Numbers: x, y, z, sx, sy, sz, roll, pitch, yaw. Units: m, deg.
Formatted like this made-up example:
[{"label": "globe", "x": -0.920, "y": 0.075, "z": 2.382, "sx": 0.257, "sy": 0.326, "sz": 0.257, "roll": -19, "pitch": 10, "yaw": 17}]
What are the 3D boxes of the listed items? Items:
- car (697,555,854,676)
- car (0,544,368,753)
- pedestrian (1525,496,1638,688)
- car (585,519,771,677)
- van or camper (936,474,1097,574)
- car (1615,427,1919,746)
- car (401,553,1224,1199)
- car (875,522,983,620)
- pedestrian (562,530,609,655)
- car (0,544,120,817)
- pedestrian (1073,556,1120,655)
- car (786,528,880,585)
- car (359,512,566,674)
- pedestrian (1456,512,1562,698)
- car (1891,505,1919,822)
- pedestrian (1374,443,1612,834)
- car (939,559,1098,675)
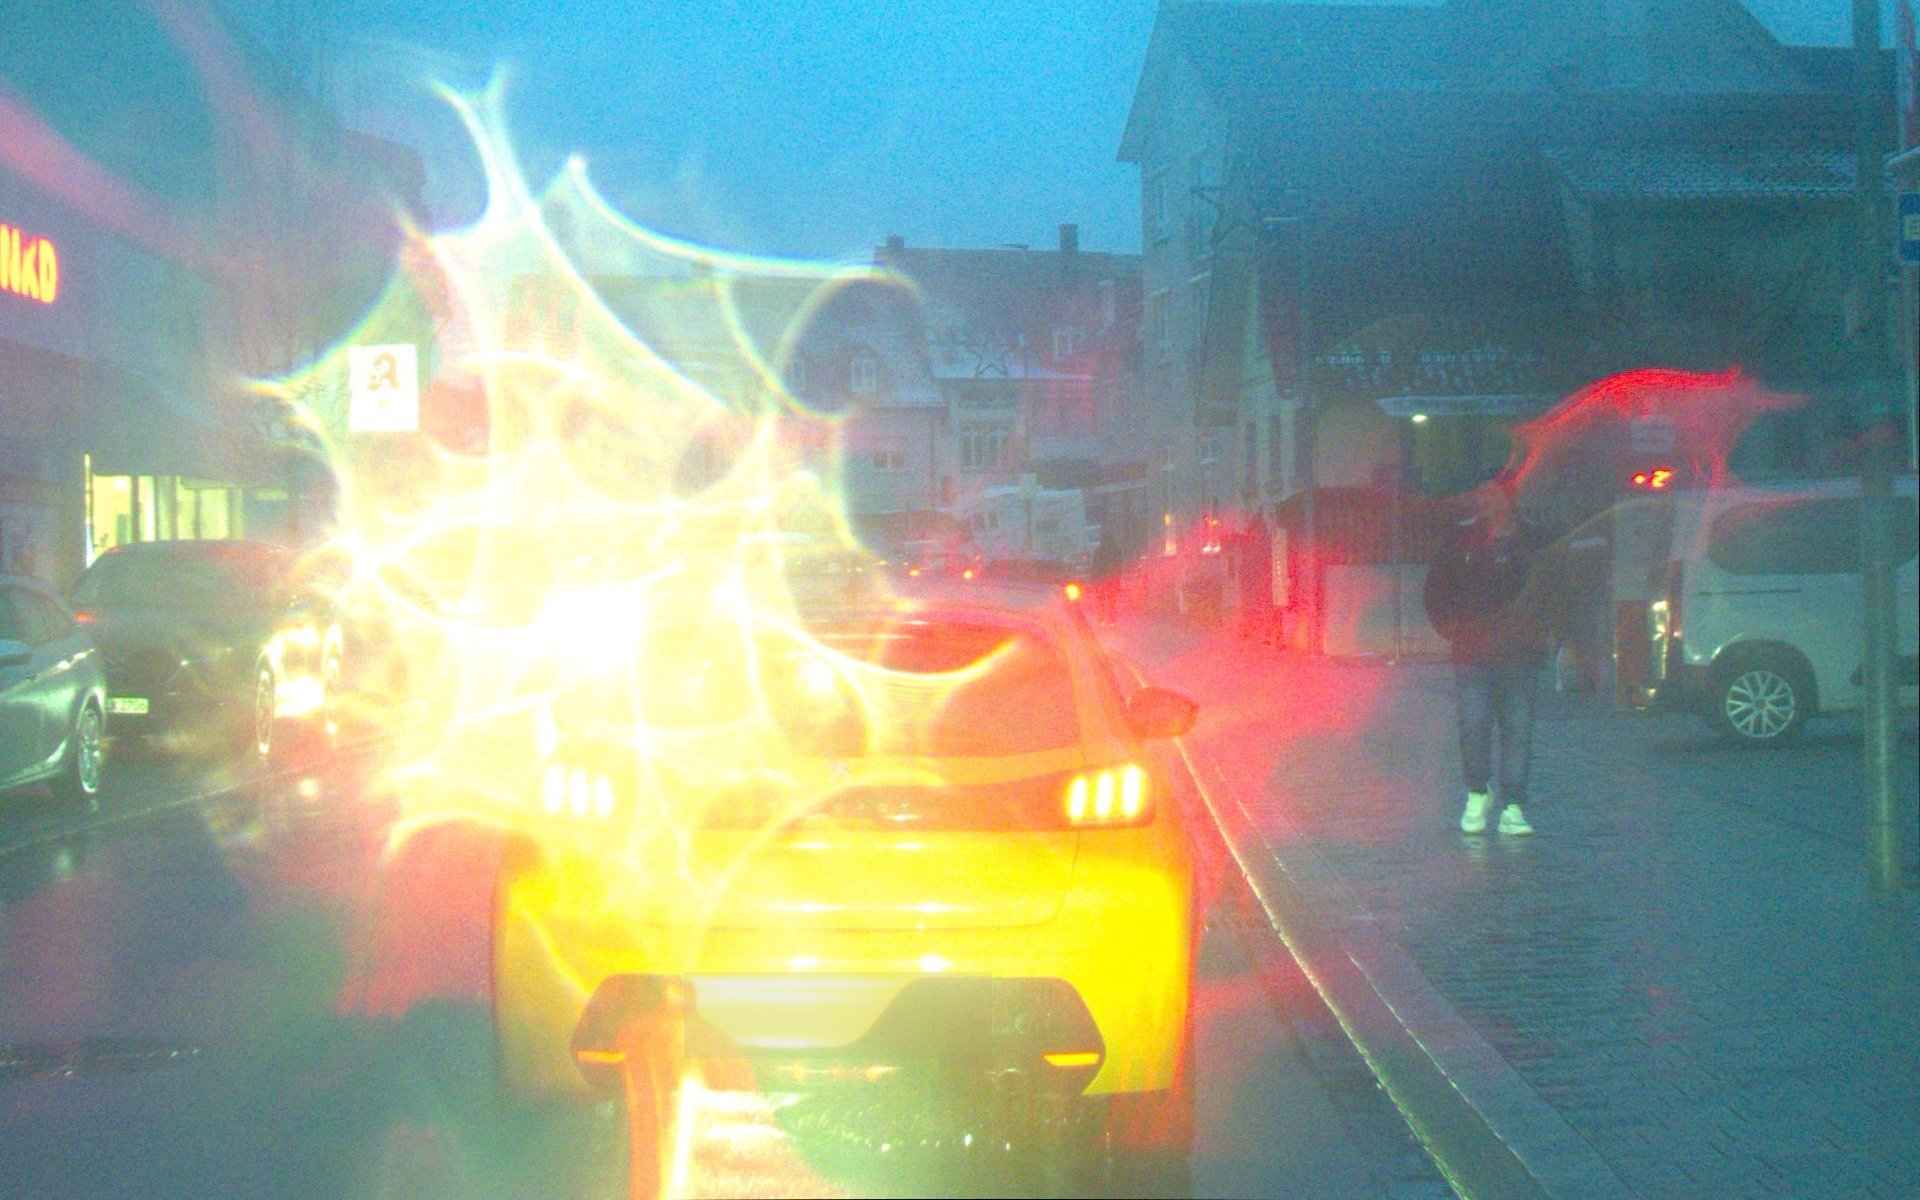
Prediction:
[{"label": "car", "x": -2.944, "y": 0.204, "z": 53.928, "sx": 1.951, "sy": 1.541, "sz": 4.417, "roll": -2, "pitch": 4, "yaw": -9}, {"label": "car", "x": -6.142, "y": 0.323, "z": 27.390, "sx": 1.993, "sy": 1.517, "sz": 4.978, "roll": 0, "pitch": 1, "yaw": 0}, {"label": "pedestrian", "x": 5.671, "y": -0.075, "z": 31.390, "sx": 0.703, "sy": 1.699, "sz": 0.915, "roll": -2, "pitch": 1, "yaw": -9}, {"label": "car", "x": -3.407, "y": -0.078, "z": 42.349, "sx": 1.993, "sy": 1.700, "sz": 4.968, "roll": 2, "pitch": 2, "yaw": -2}, {"label": "van or camper", "x": 1.795, "y": -2.476, "z": 113.345, "sx": 2.650, "sy": 3.037, "sz": 6.736, "roll": -4, "pitch": 2, "yaw": -23}, {"label": "car", "x": 6.649, "y": -0.139, "z": 23.572, "sx": 4.092, "sy": 2.042, "sz": 1.999, "roll": -2, "pitch": 1, "yaw": 8}, {"label": "car", "x": -0.359, "y": 0.650, "z": 9.655, "sx": 1.814, "sy": 1.528, "sz": 4.000, "roll": 1, "pitch": 1, "yaw": -1}, {"label": "car", "x": -0.652, "y": -0.585, "z": 68.183, "sx": 1.993, "sy": 1.851, "sz": 4.000, "roll": 1, "pitch": 1, "yaw": -2}, {"label": "pedestrian", "x": -4.814, "y": -0.101, "z": 44.193, "sx": 0.574, "sy": 1.580, "sz": 0.530, "roll": 0, "pitch": 2, "yaw": -4}, {"label": "car", "x": -6.457, "y": 0.442, "z": 19.952, "sx": 1.993, "sy": 1.553, "sz": 4.621, "roll": 1, "pitch": 1, "yaw": 0}, {"label": "pedestrian", "x": 2.430, "y": 0.099, "z": 61.347, "sx": 0.745, "sy": 1.723, "sz": 0.873, "roll": 0, "pitch": 2, "yaw": -3}, {"label": "car", "x": -4.164, "y": -1.445, "z": 112.225, "sx": 1.993, "sy": 1.759, "sz": 4.352, "roll": -2, "pitch": 2, "yaw": -17}, {"label": "car", "x": -5.791, "y": -0.131, "z": 40.570, "sx": 2.085, "sy": 1.786, "sz": 5.025, "roll": 0, "pitch": 1, "yaw": -4}, {"label": "pedestrian", "x": 5.171, "y": 0.043, "z": 32.424, "sx": 0.842, "sy": 1.699, "sz": 0.839, "roll": -2, "pitch": 0, "yaw": 2}, {"label": "car", "x": 6.447, "y": 0.262, "z": 15.516, "sx": 3.987, "sy": 1.481, "sz": 1.912, "roll": -1, "pitch": 0, "yaw": 3}, {"label": "pedestrian", "x": 2.641, "y": 0.182, "z": 17.147, "sx": 0.966, "sy": 1.883, "sz": 1.006, "roll": 1, "pitch": 0, "yaw": -3}, {"label": "car", "x": 0.792, "y": 0.212, "z": 49.473, "sx": 1.993, "sy": 1.583, "sz": 4.001, "roll": 1, "pitch": 1, "yaw": -3}]
